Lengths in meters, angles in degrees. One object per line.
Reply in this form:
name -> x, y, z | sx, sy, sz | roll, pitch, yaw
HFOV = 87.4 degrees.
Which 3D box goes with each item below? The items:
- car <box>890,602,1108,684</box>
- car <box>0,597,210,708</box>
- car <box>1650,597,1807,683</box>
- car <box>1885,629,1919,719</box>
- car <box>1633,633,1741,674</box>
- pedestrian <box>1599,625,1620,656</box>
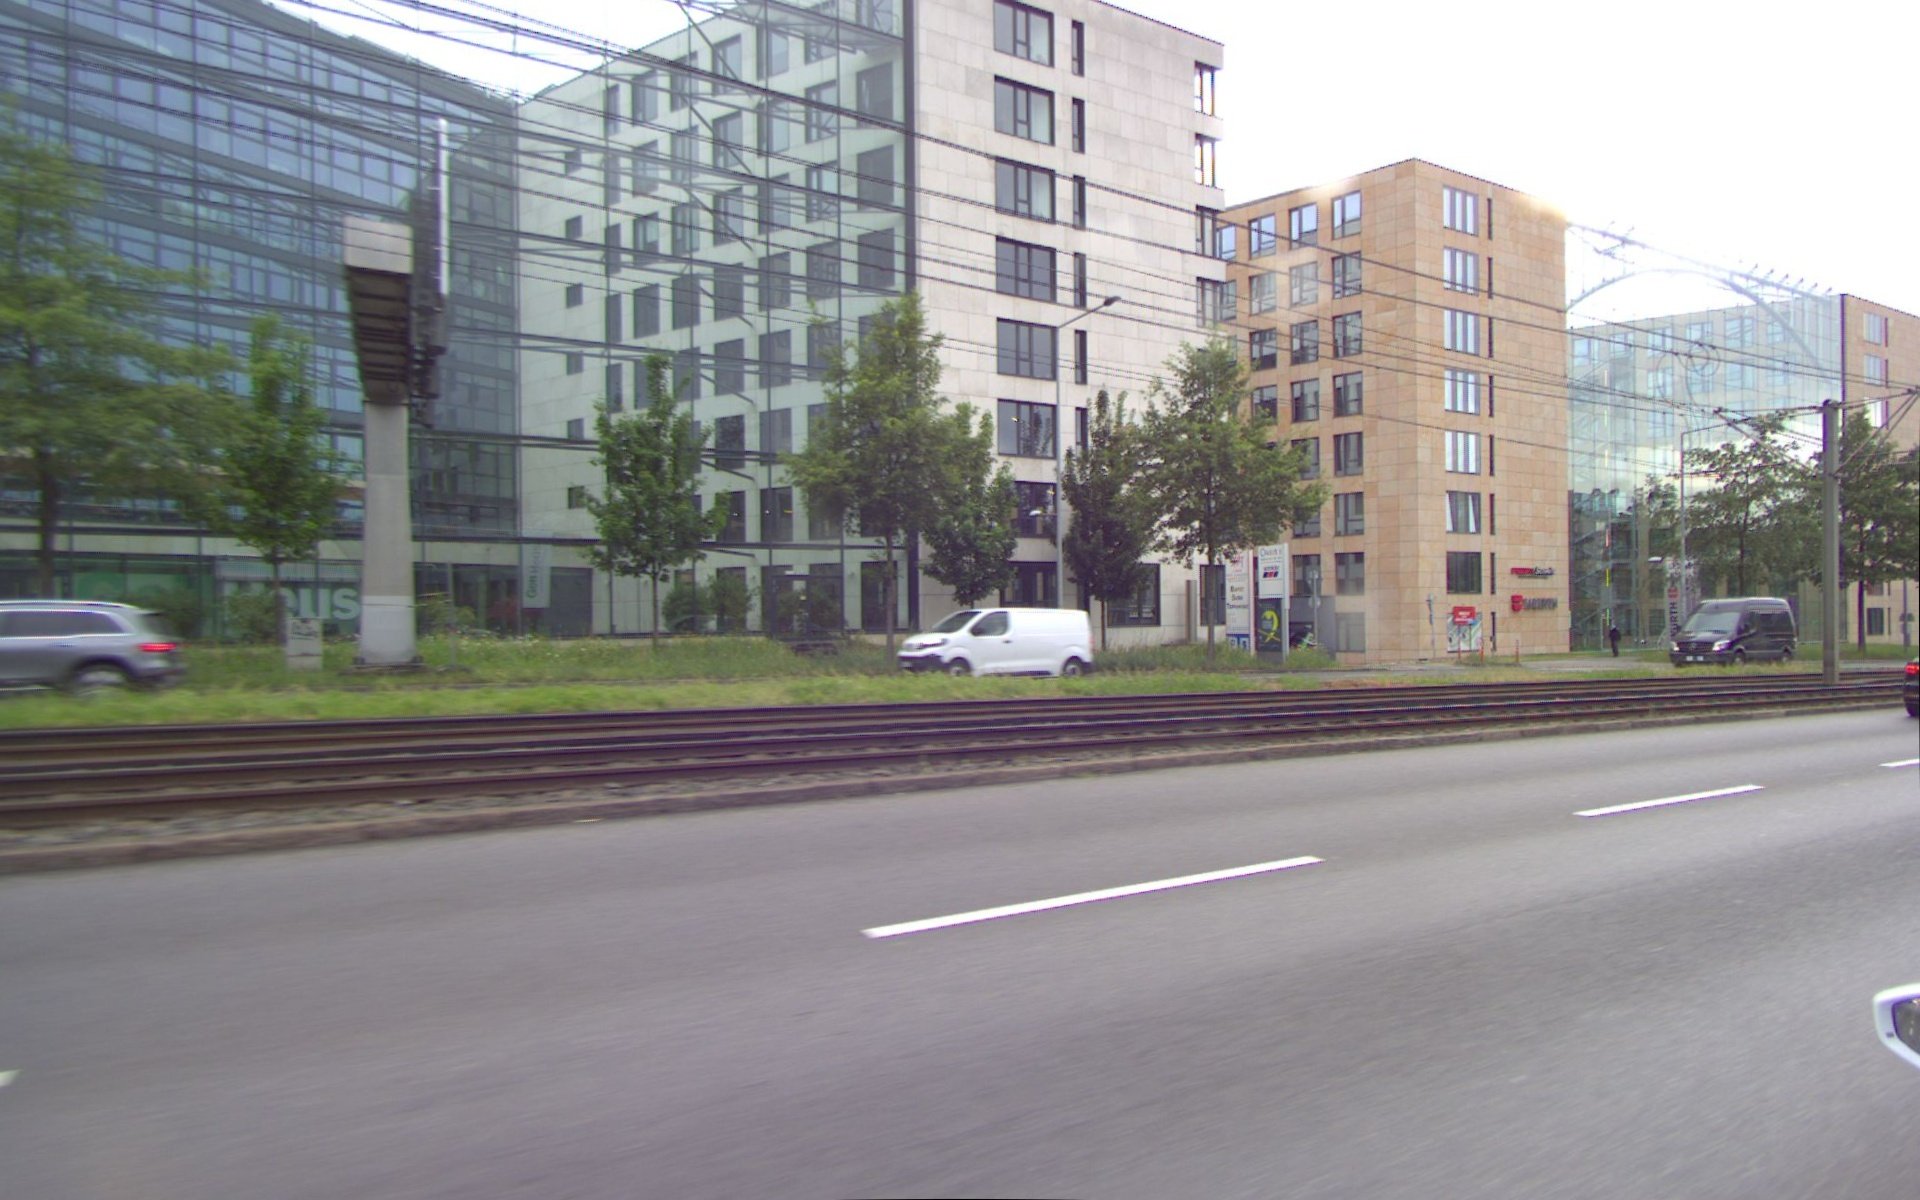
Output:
car -> 0.977, 1.011, 24.313 | 5.001, 1.785, 1.929 | 1, 0, -30
car -> -14.648, 0.785, 15.713 | 4.437, 1.627, 1.801 | 1, 0, -30
car -> 27.569, 1.415, 36.005 | 5.542, 2.855, 2.373 | 2, 0, -29
car -> 17.692, 1.246, 16.966 | 4.750, 1.432, 1.777 | 1, 0, -31
car -> 30.166, 2.175, 41.644 | 4.758, 1.554, 1.752 | 1, 0, -29
pedestrian -> 36.118, 2.253, 55.832 | 0.823, 1.653, 0.638 | 3, -1, -32
